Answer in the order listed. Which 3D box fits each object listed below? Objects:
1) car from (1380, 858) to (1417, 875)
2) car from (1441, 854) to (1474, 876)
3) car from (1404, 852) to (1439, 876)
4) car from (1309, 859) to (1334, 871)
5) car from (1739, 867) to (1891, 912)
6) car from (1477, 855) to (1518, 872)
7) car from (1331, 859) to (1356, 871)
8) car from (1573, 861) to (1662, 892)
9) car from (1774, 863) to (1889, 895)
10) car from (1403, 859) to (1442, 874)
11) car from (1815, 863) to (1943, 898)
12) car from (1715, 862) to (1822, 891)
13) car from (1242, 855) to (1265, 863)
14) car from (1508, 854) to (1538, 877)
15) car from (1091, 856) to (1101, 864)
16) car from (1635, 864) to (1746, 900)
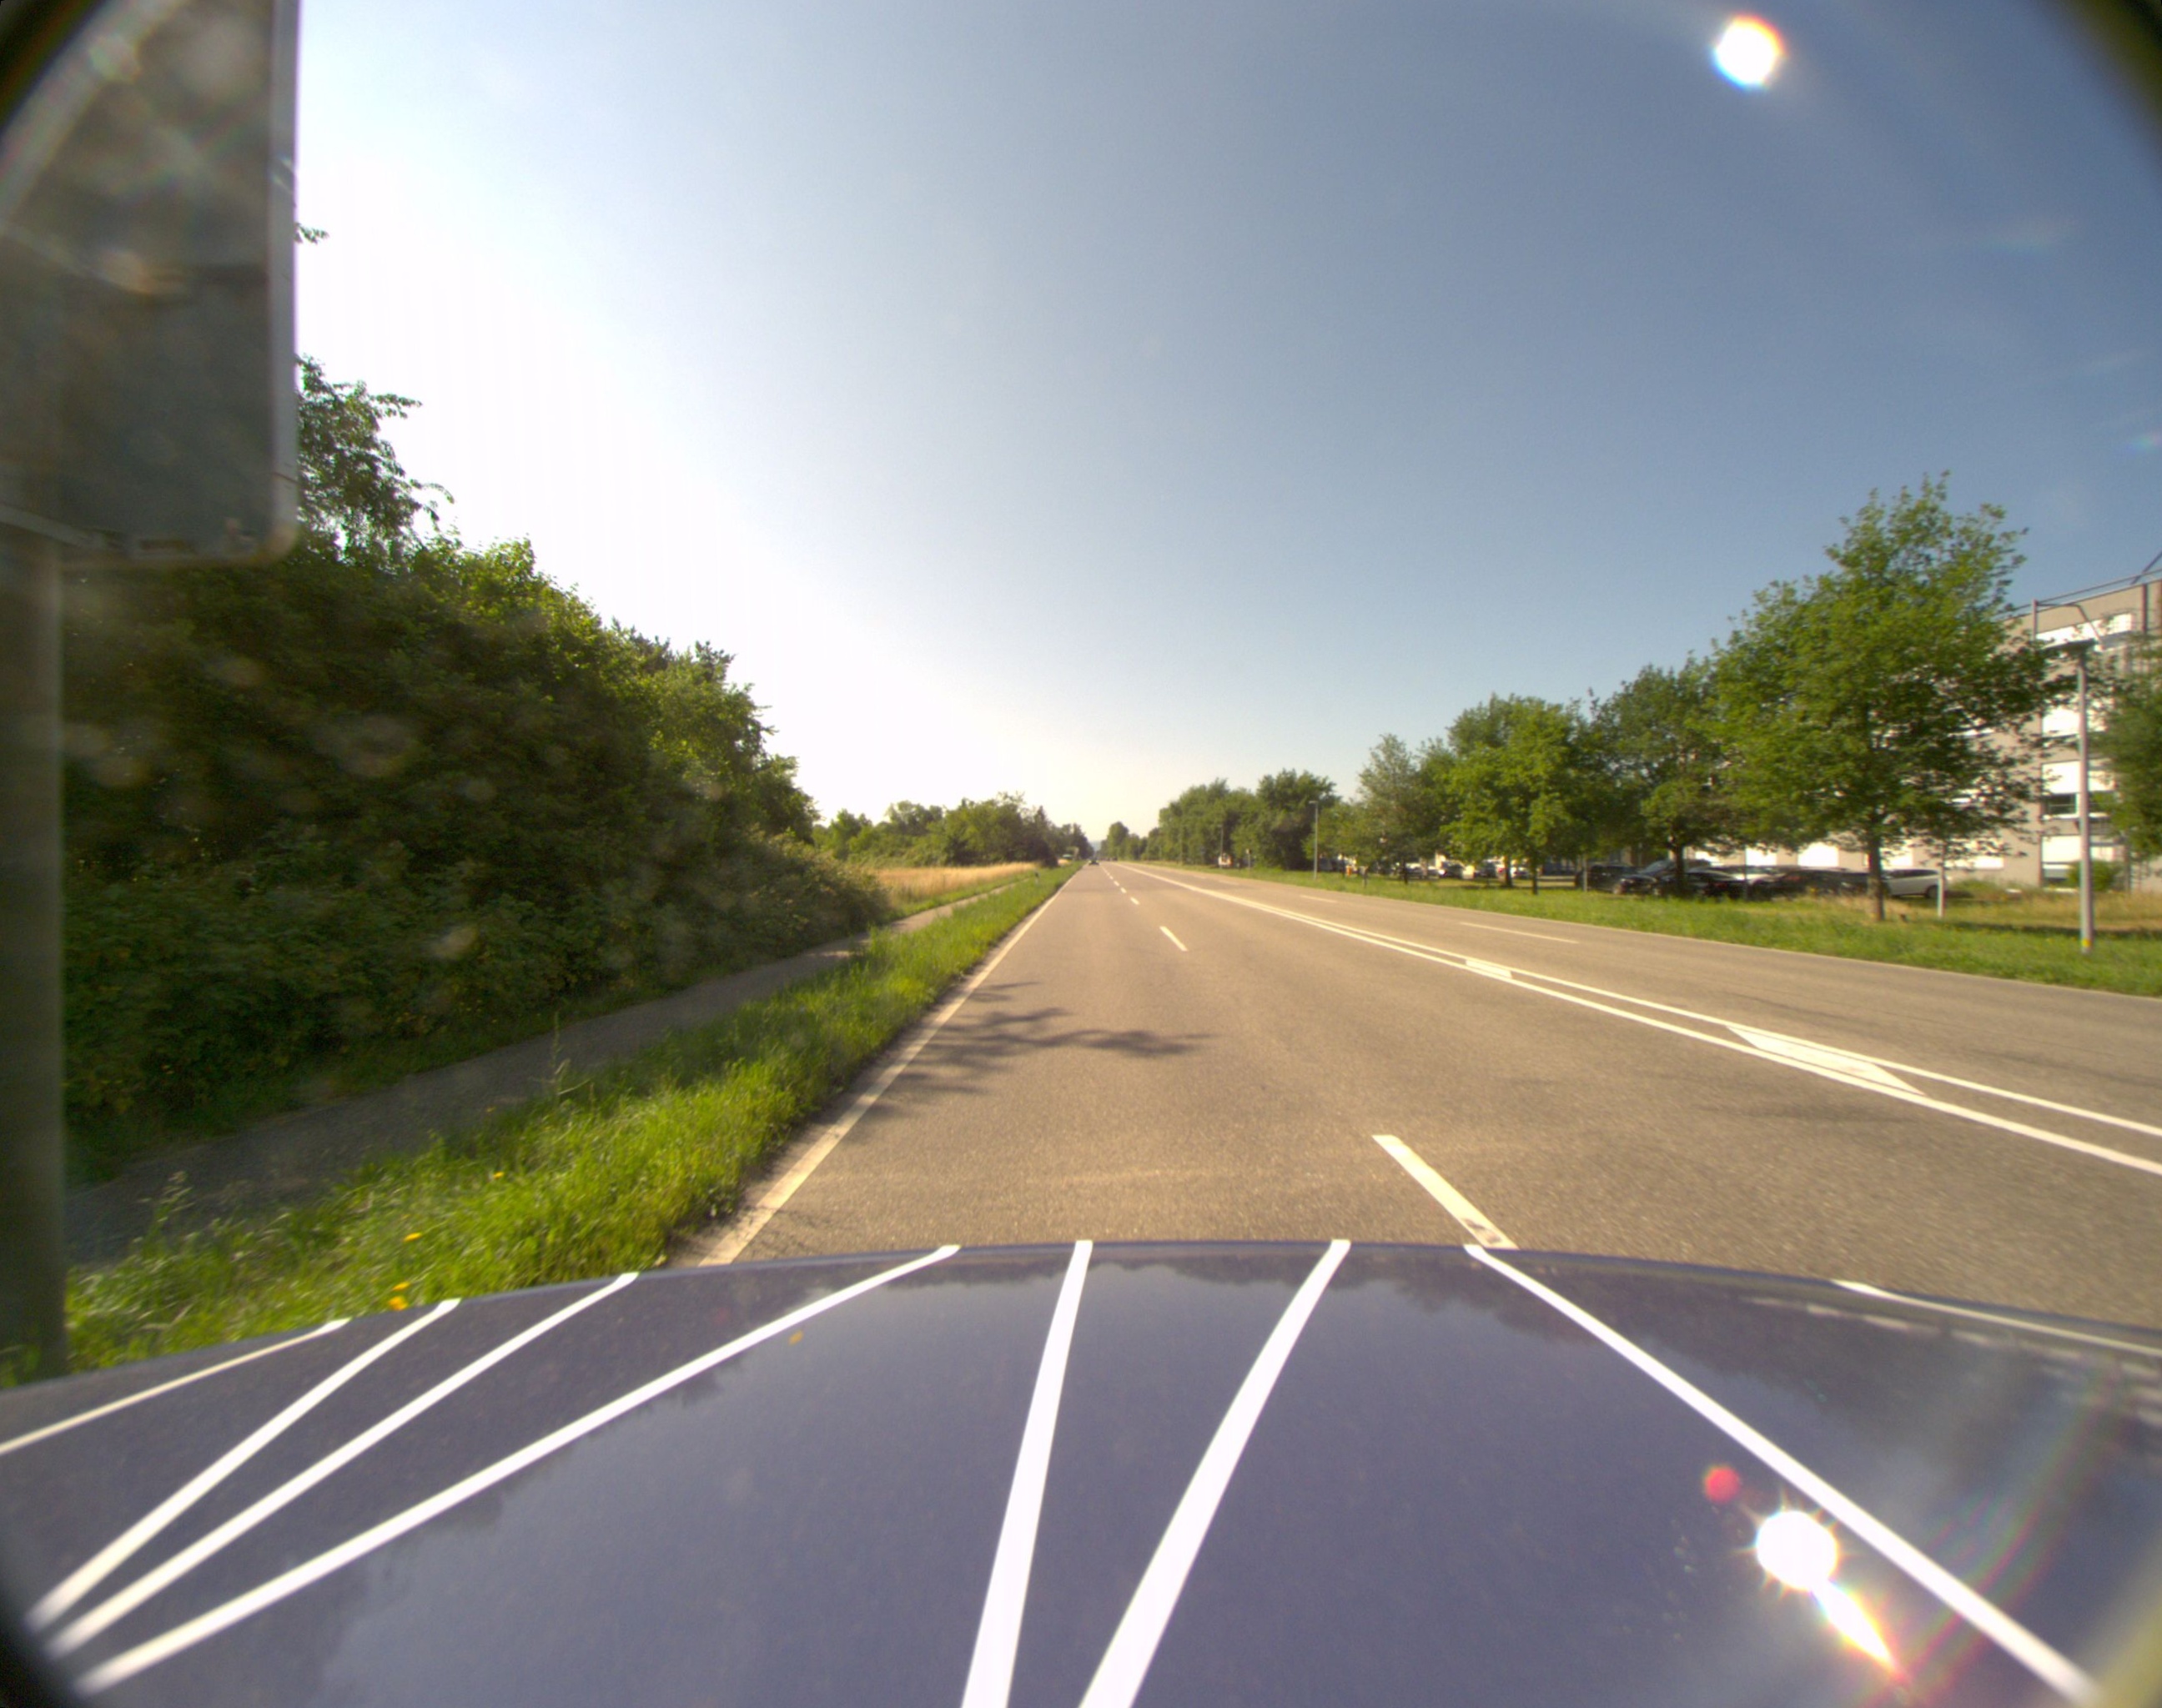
[{"bbox_3d":[31.033,1.193,74.396,1.934,1.642,4.191,0,0,0],"label":"car"},{"bbox_3d":[31.936,0.888,64.378,2.068,1.796,5.025,0,1,32],"label":"car"},{"bbox_3d":[28.871,0.835,64.375,2.068,1.918,5.025,0,1,32],"label":"car"},{"bbox_3d":[28.371,1.314,89.642,1.676,1.342,4.000,0,0,1],"label":"car"},{"bbox_3d":[29.213,1.363,30.475,1.747,1.569,4.548,0,0,1],"label":"car"},{"bbox_3d":[41.546,0.941,75.918,1.861,1.648,4.169,0,0,1],"label":"car"},{"bbox_3d":[31.061,1.302,90.100,1.676,1.342,4.000,0,0,1],"label":"car"},{"bbox_3d":[29.303,1.189,41.690,1.747,1.569,4.548,0,0,1],"label":"car"},{"bbox_3d":[37.273,1.206,37.794,3.997,1.527,1.742,0,0,0],"label":"car"},{"bbox_3d":[33.368,1.157,74.316,1.934,1.386,4.191,0,0,0],"label":"car"},{"bbox_3d":[37.189,1.235,35.469,4.146,1.576,1.742,0,0,0],"label":"car"},{"bbox_3d":[36.741,1.185,40.686,3.997,1.527,1.888,0,0,0],"label":"car"},{"bbox_3d":[33.144,0.999,145.896,3.997,1.492,1.758,0,0,1],"label":"car"},{"bbox_3d":[37.855,0.961,65.036,2.068,1.796,5.025,0,1,32],"label":"car"},{"bbox_3d":[2.742,1.119,135.329,1.768,1.403,4.001,0,-1,2],"label":"car"},{"bbox_3d":[29.366,1.285,36.803,1.747,1.569,4.548,0,0,1],"label":"car"}]
